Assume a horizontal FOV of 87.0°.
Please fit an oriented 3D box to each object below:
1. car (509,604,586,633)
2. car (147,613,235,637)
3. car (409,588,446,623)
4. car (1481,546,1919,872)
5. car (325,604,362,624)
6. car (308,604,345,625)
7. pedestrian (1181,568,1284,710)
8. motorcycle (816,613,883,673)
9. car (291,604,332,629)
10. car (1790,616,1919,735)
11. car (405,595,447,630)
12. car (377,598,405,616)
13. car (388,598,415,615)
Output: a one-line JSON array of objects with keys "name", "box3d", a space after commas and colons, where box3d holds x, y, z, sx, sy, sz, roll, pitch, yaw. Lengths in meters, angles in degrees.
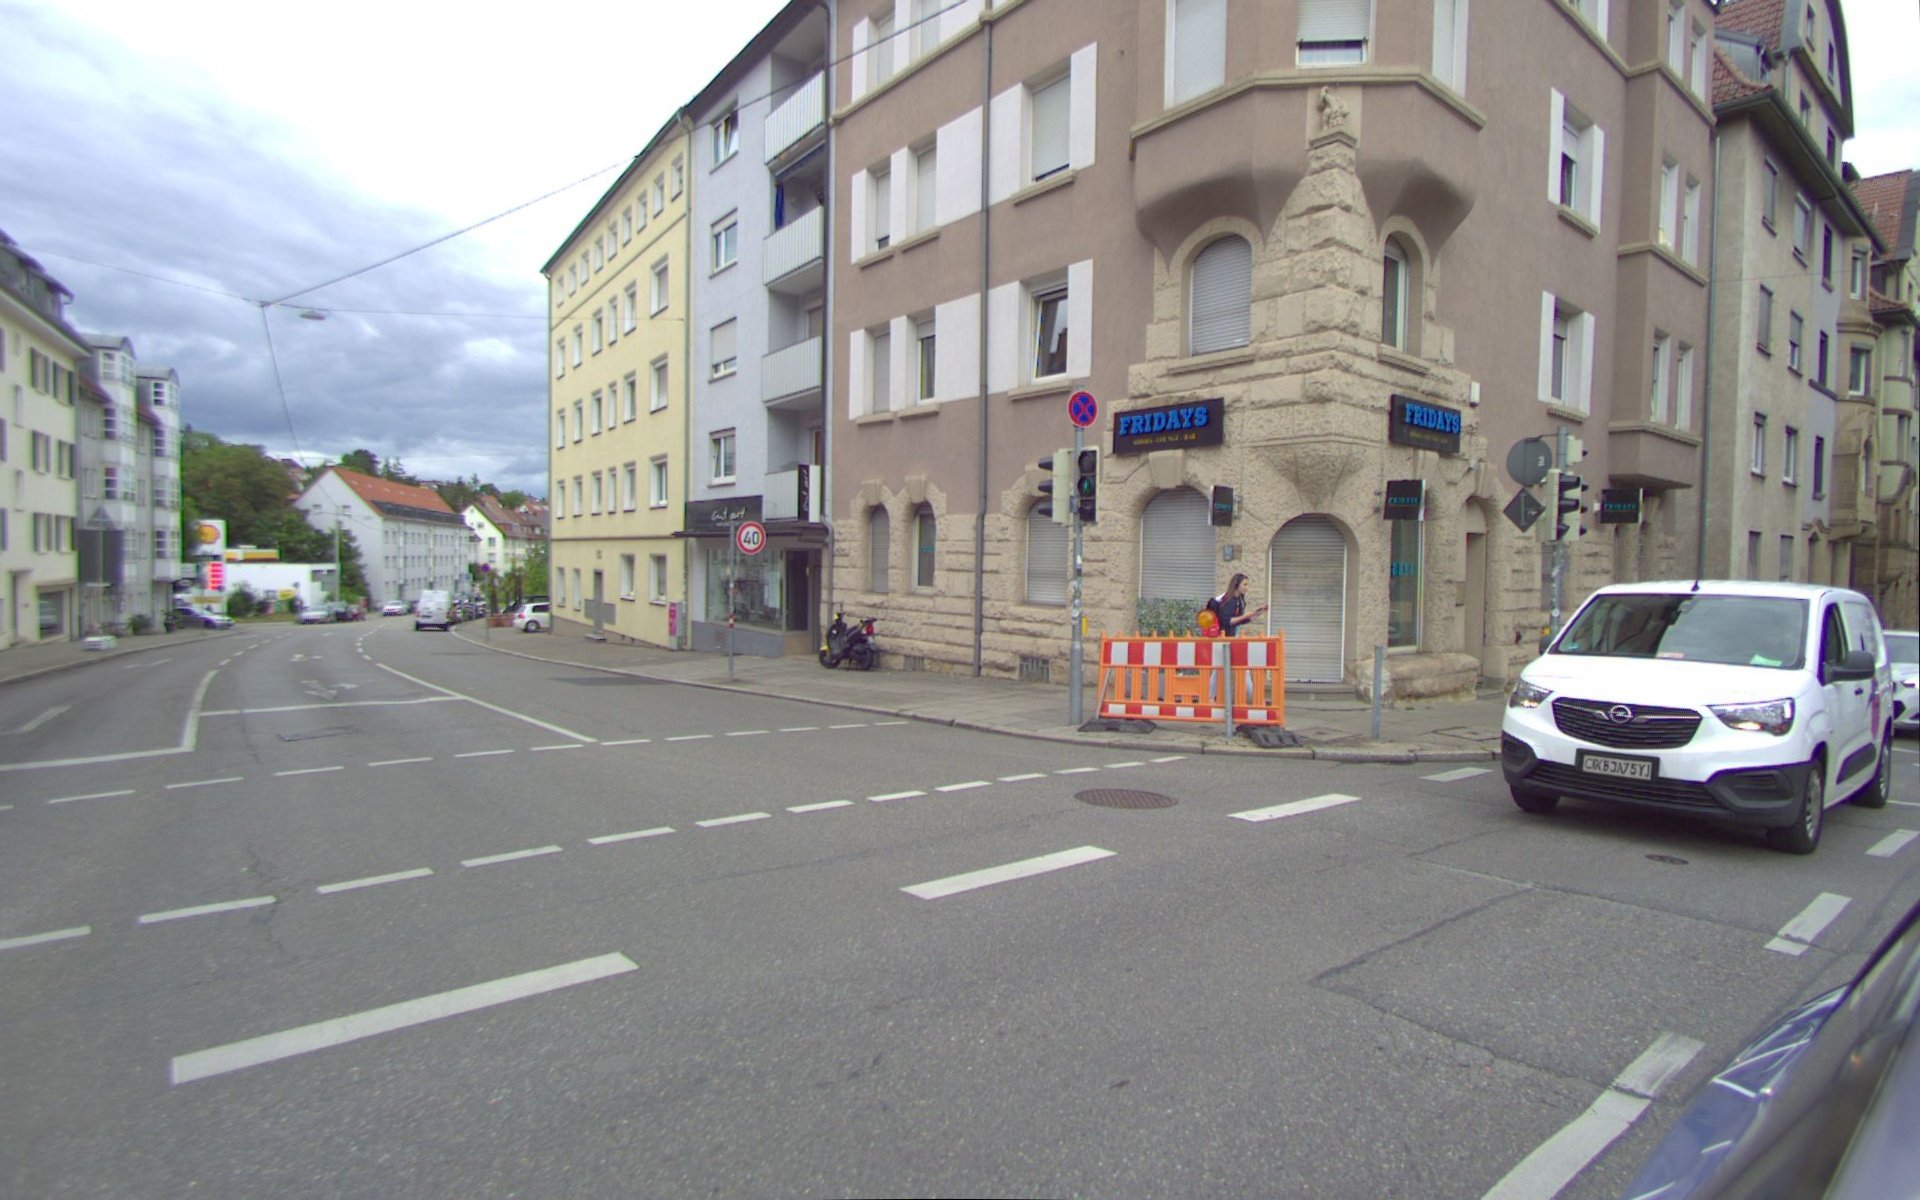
[{"name": "car", "box3d": [-21.145, 0.937, 51.842, 3.428, 1.416, 1.781, 2, -1, -29]}, {"name": "car", "box3d": [-48.546, 1.573, 63.954, 3.916, 1.455, 2.004, 1, -1, -15]}, {"name": "car", "box3d": [-37.799, 0.376, 71.817, 1.833, 2.258, 4.003, 3, 1, -33]}, {"name": "car", "box3d": [5.973, 0.680, 7.892, 4.759, 1.812, 1.787, 3, -2, -41]}, {"name": "car", "box3d": [-52.590, 1.174, 86.391, 1.837, 1.640, 4.008, 2, -1, -19]}, {"name": "car", "box3d": [-51.083, 1.169, 81.670, 1.837, 1.640, 4.007, 2, -1, -22]}, {"name": "pedestrian", "box3d": [3.362, 0.457, 12.483, 0.999, 1.669, 0.725, 1, -1, 37]}, {"name": "motorcycle", "box3d": [-2.207, 0.819, 20.040, 0.505, 1.096, 1.682, -2, 1, -38]}, {"name": "car", "box3d": [-49.485, 1.241, 77.292, 1.837, 1.791, 4.007, 2, -1, -22]}, {"name": "car", "box3d": [14.402, 1.135, 15.644, 4.090, 1.628, 1.778, 3, -3, -41]}, {"name": "car", "box3d": [-32.711, 0.764, 61.956, 1.833, 1.883, 4.003, 3, 1, -33]}, {"name": "car", "box3d": [-59.612, 0.741, 106.086, 1.837, 1.705, 4.007, 2, -1, -20]}, {"name": "car", "box3d": [-61.596, 0.720, 111.599, 1.837, 1.705, 4.008, 2, -1, -18]}]
